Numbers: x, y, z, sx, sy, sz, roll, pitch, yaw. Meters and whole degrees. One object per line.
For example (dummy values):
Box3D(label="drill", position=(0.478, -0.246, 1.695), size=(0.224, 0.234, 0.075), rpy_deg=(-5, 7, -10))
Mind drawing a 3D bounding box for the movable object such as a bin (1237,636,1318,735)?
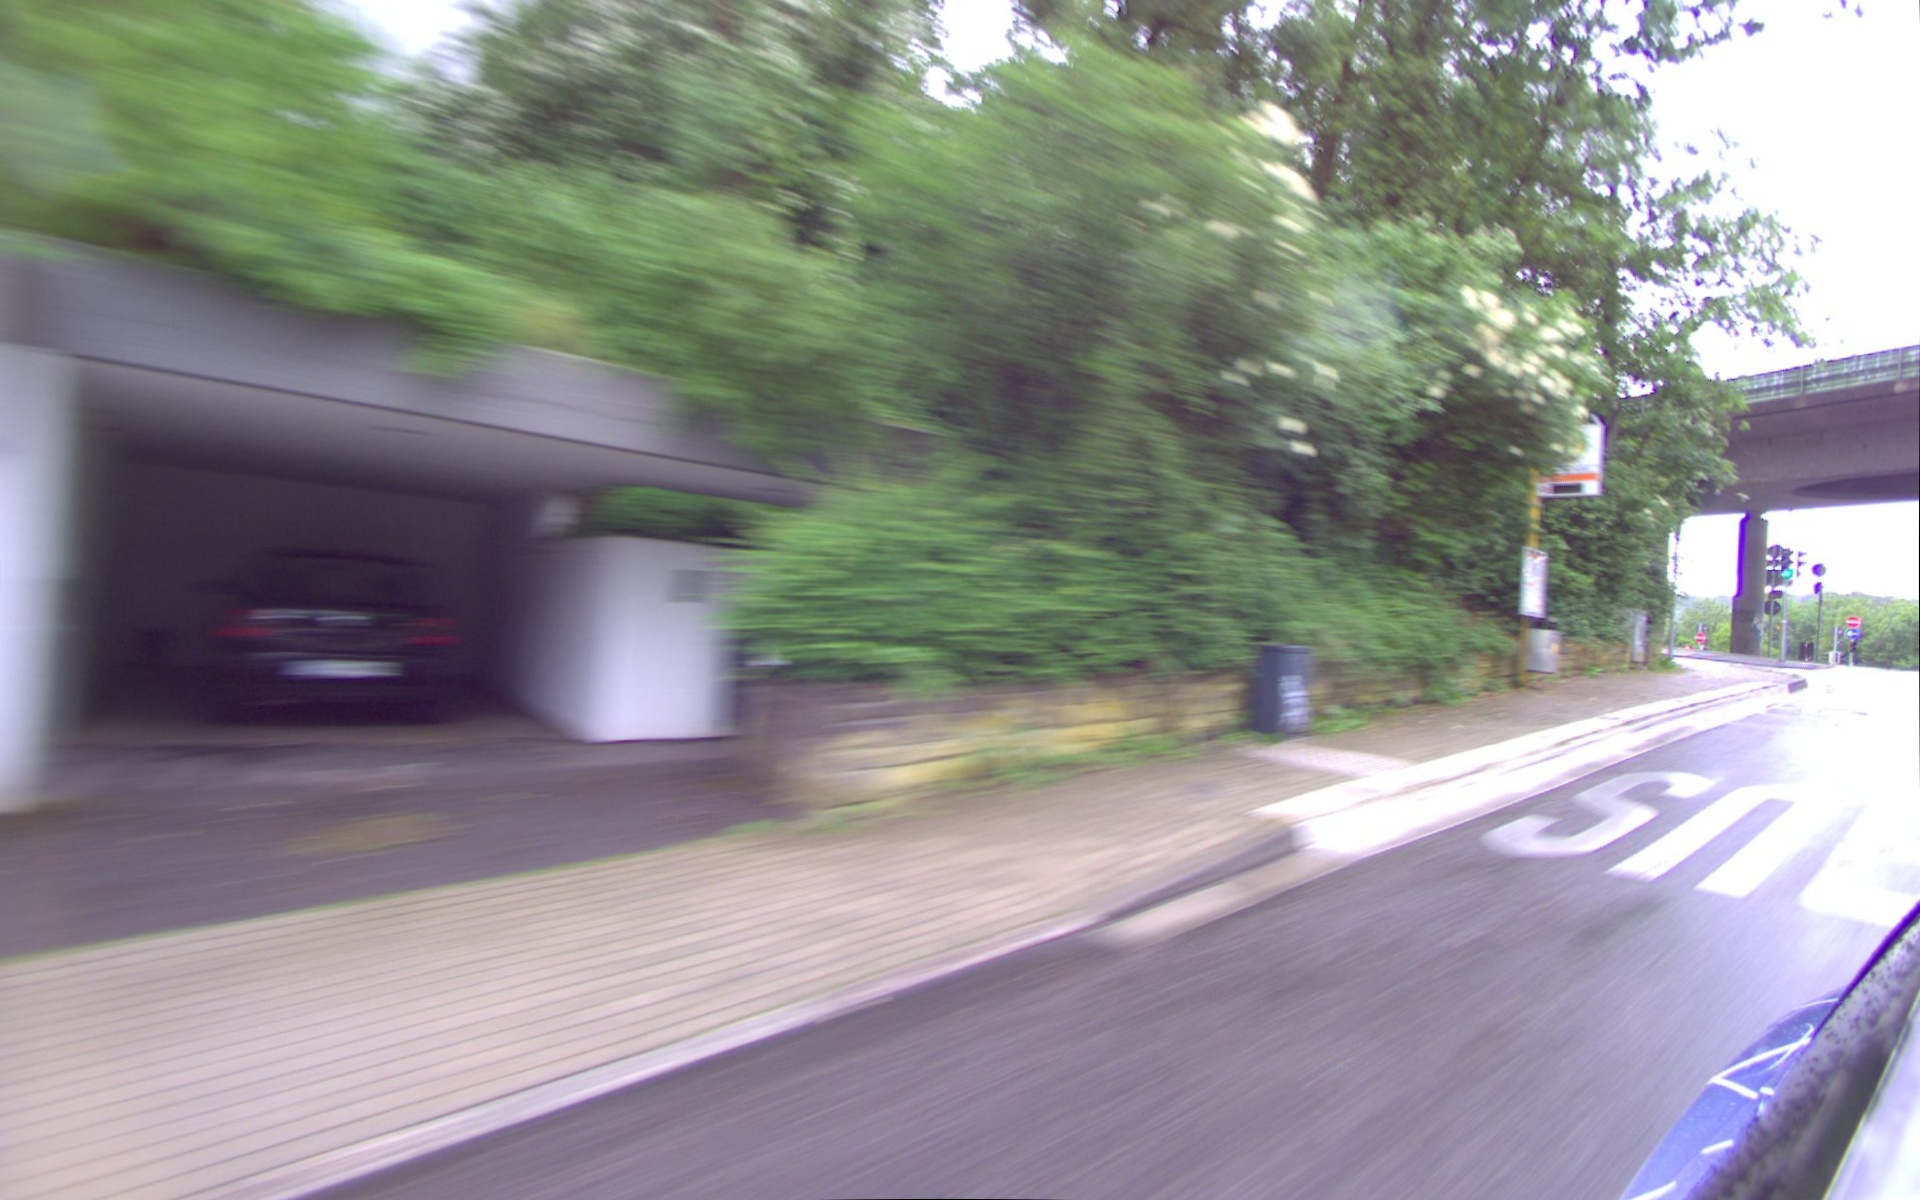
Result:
Box3D(label="movable object such as a bin", position=(2.788, 0.733, 8.883), size=(0.494, 0.798, 0.506), rpy_deg=(-1, 0, -45))

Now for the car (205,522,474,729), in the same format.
Box3D(label="car", position=(-5.751, 0.156, 9.164), size=(1.640, 1.463, 3.790), rpy_deg=(4, -1, -37))
